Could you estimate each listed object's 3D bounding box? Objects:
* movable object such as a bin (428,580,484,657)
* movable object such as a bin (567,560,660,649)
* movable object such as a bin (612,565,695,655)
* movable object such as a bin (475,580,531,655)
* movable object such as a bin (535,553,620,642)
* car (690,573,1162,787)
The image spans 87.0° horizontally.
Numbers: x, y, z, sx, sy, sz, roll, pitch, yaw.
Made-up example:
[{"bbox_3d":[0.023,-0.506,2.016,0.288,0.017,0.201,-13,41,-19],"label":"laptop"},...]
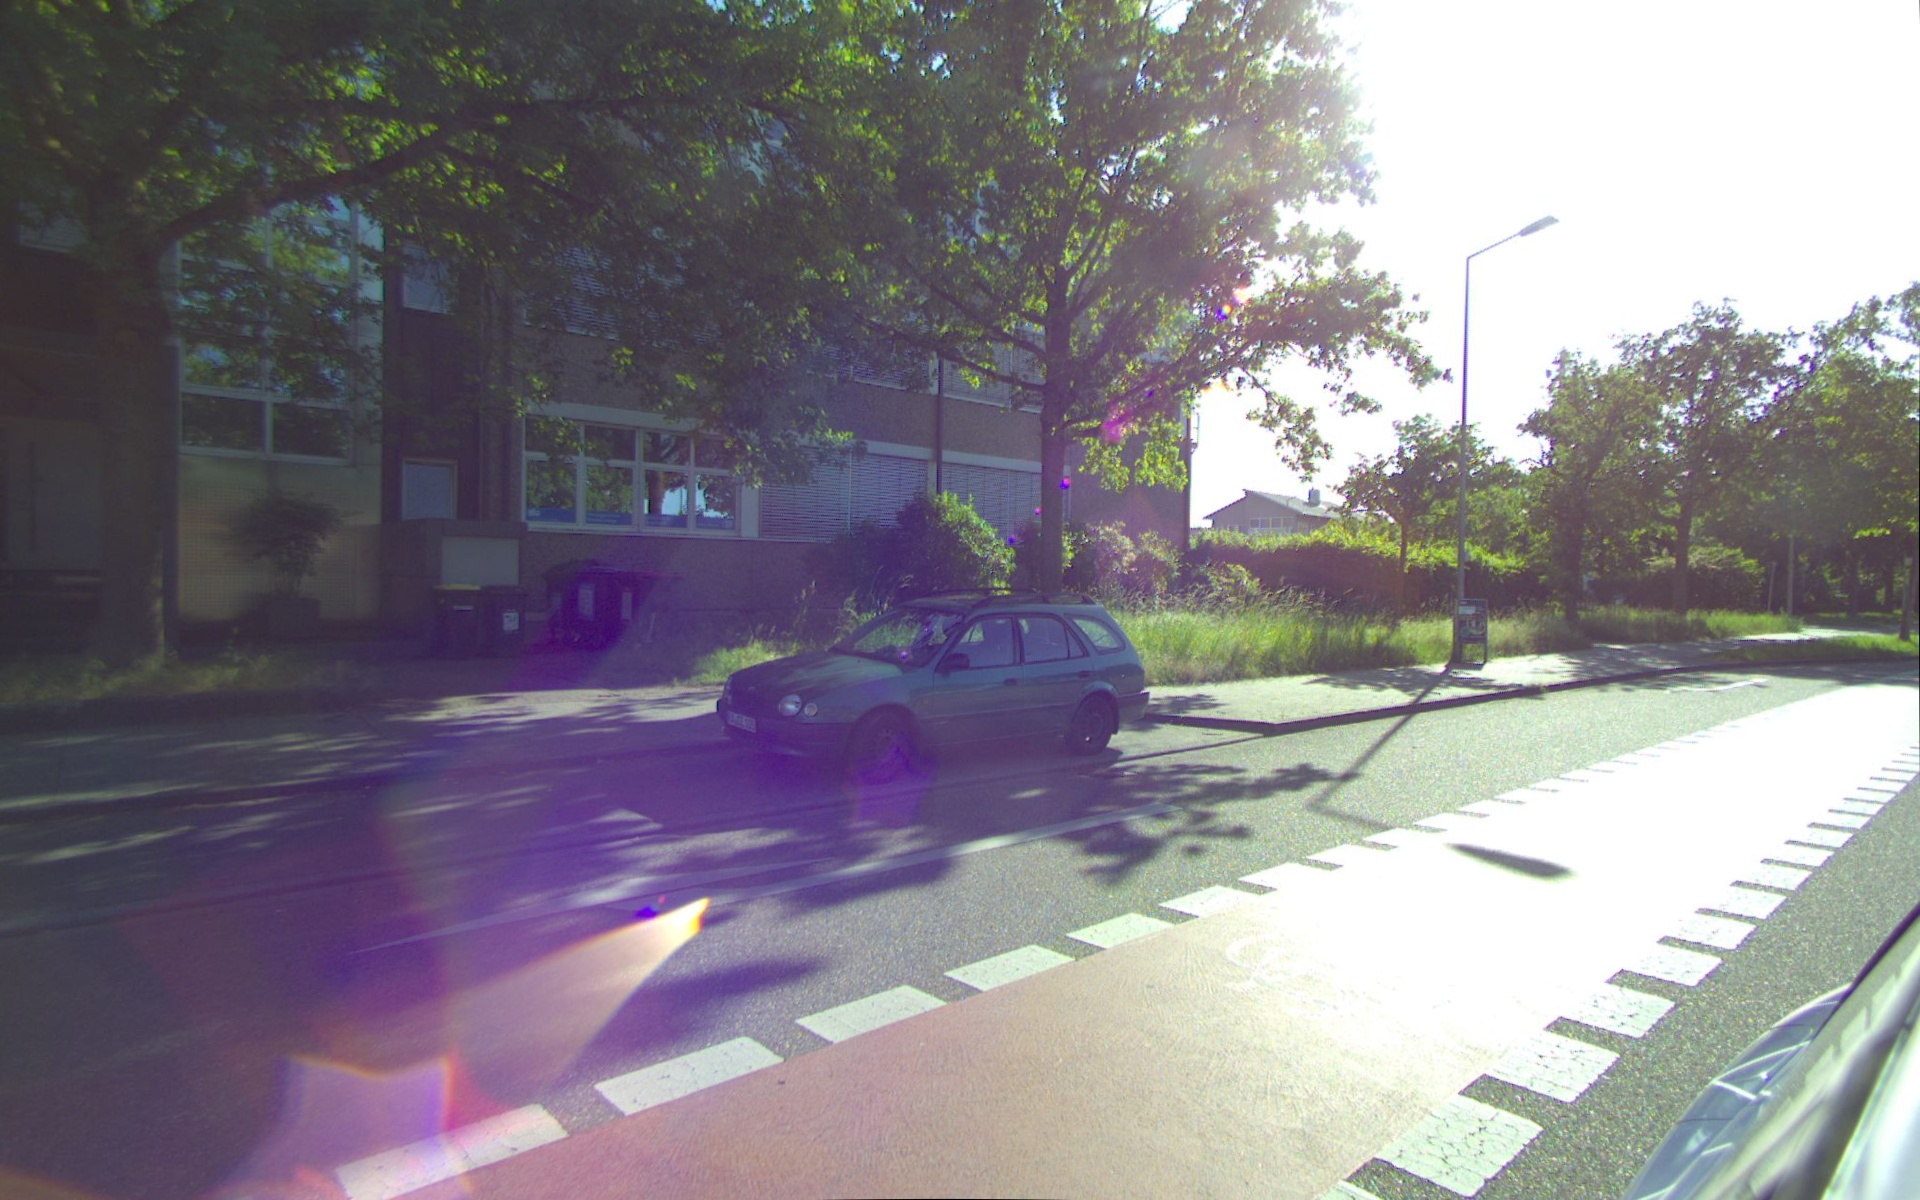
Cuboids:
[{"bbox_3d":[-7.216,0.250,14.489,0.575,1.070,0.625,0,1,-42],"label":"movable object such as a bin"},{"bbox_3d":[-5.773,0.047,16.852,1.070,1.388,1.186,0,2,-43],"label":"movable object such as a bin"},{"bbox_3d":[-4.783,0.129,15.765,0.878,1.323,1.186,0,2,-37],"label":"movable object such as a bin"},{"bbox_3d":[-6.761,0.245,14.970,0.604,1.075,0.634,0,1,-42],"label":"movable object such as a bin"},{"bbox_3d":[-6.782,-0.069,17.933,1.024,1.501,1.309,0,2,-41],"label":"movable object such as a bin"},{"bbox_3d":[-0.148,0.577,9.123,4.068,1.487,1.705,1,1,-41],"label":"car"}]
